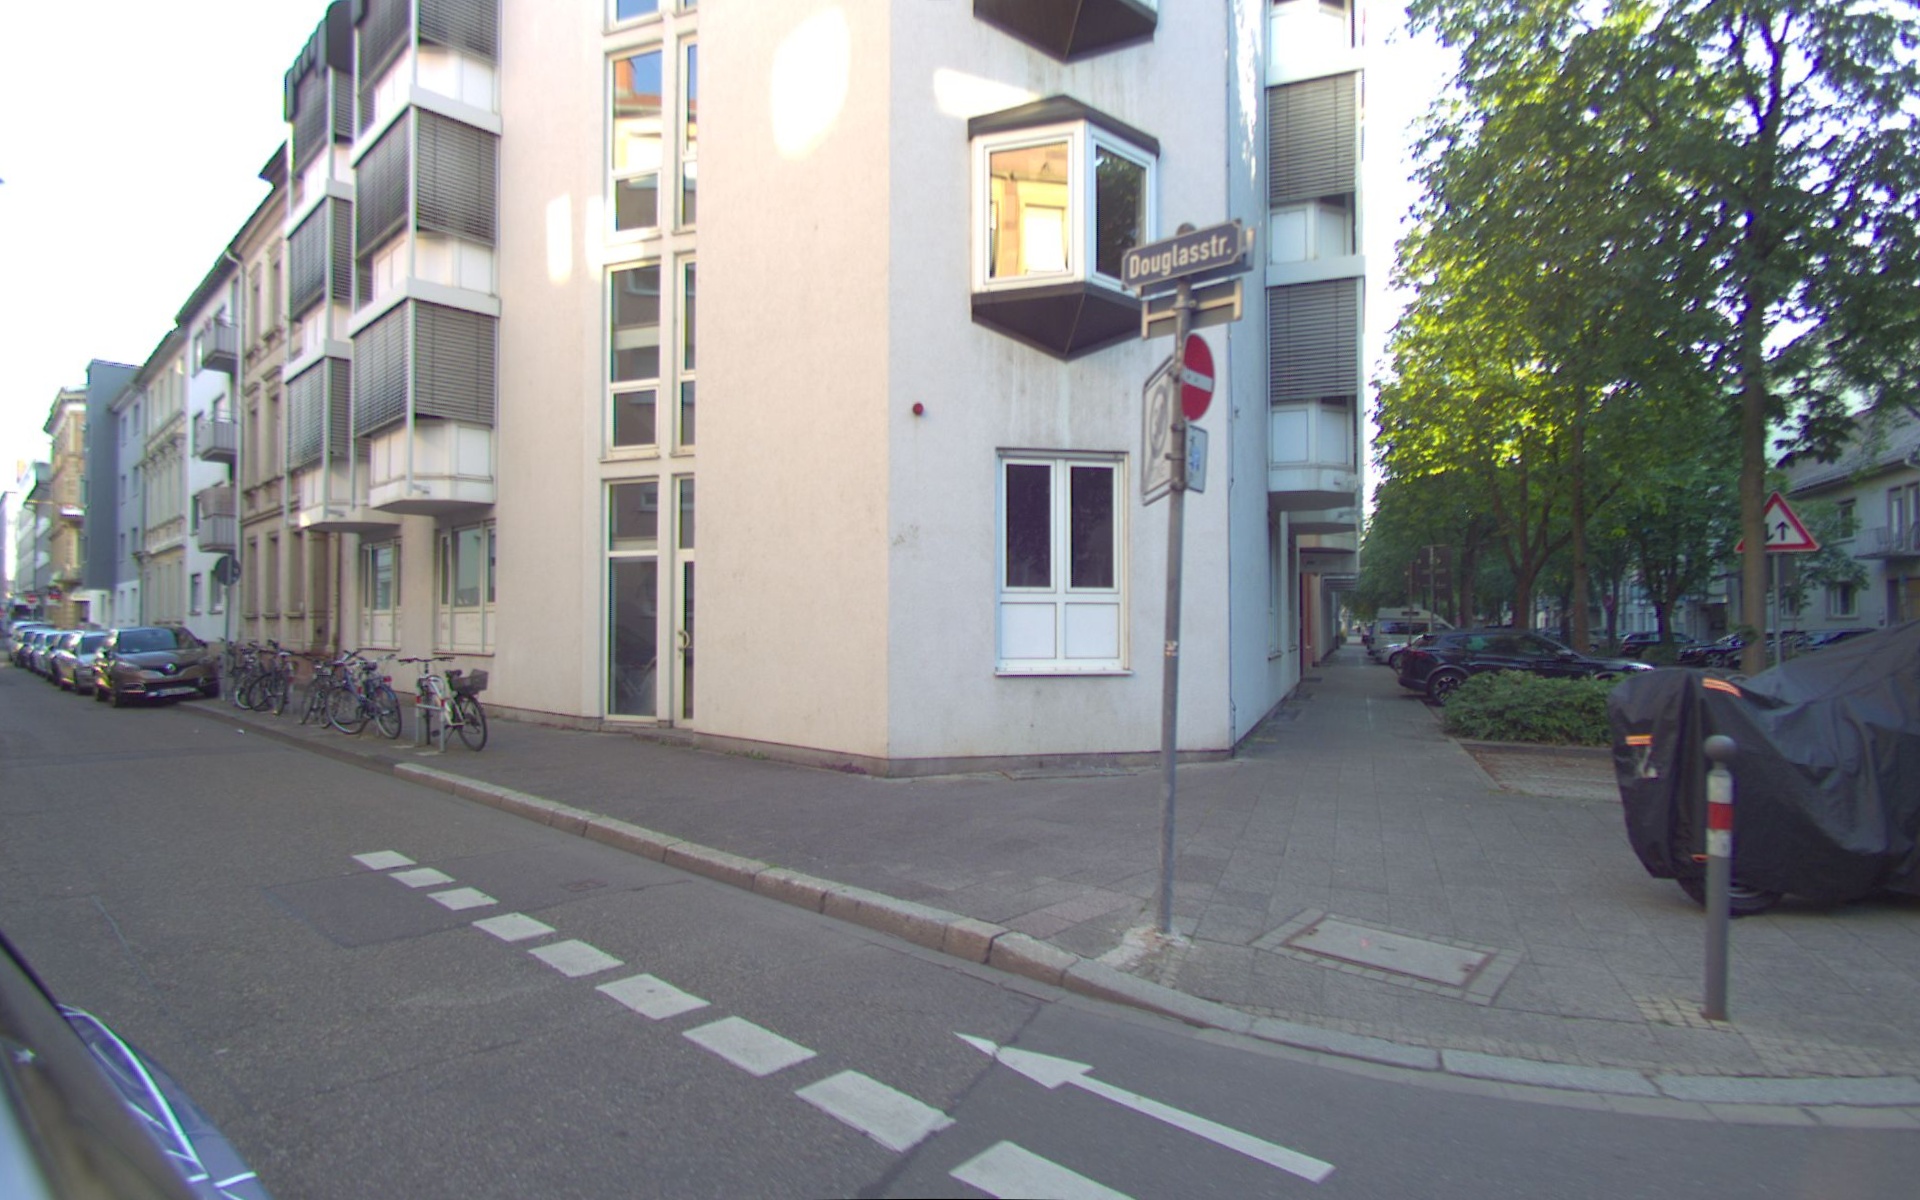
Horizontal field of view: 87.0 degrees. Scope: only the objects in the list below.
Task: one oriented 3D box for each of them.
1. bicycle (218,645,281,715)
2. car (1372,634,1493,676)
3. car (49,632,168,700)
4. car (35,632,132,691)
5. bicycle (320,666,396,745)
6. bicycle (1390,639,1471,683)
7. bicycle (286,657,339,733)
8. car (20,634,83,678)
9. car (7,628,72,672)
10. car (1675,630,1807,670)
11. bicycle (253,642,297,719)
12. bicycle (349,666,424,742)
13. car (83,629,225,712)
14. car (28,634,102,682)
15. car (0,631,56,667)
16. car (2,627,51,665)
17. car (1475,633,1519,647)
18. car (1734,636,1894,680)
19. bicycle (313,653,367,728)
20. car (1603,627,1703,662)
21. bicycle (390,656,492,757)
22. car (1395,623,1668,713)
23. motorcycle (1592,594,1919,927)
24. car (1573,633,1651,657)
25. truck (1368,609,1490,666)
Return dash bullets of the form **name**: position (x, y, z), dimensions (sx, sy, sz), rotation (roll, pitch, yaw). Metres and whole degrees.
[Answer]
- **bicycle**: position (-13.110, 1.429, 18.648), dimensions (0.588, 1.196, 2.267), rotation (1, -2, -44)
- **car**: position (18.089, 2.067, 38.921), dimensions (4.118, 1.483, 1.628), rotation (0, -2, 23)
- **car**: position (-21.499, 1.604, 25.495), dimensions (4.434, 1.551, 1.771), rotation (-2, -2, 43)
- **car**: position (-25.690, 1.745, 29.613), dimensions (4.496, 1.551, 1.770), rotation (-2, -2, 45)
- **bicycle**: position (-7.983, 1.374, 13.397), dimensions (1.812, 0.939, 0.304), rotation (-2, -2, 41)
- **bicycle**: position (13.016, 1.679, 28.048), dimensions (1.956, 1.208, 0.500), rotation (0, -2, 12)
- **bicycle**: position (-9.688, 1.390, 15.118), dimensions (0.303, 1.050, 1.814), rotation (1, -2, -44)
- **car**: position (-33.731, 2.042, 37.539), dimensions (1.619, 1.500, 3.957), rotation (1, -2, -44)
- **car**: position (-37.998, 2.053, 41.749), dimensions (3.783, 1.724, 1.620), rotation (-2, -2, 43)
- **car**: position (30.867, 1.996, 40.141), dimensions (3.777, 1.541, 1.555), rotation (-2, -2, 21)
- **bicycle**: position (-11.629, 1.338, 17.158), dimensions (0.303, 1.232, 1.814), rotation (1, -2, -44)
- **bicycle**: position (-7.762, 1.371, 13.666), dimensions (1.812, 0.939, 0.303), rotation (-2, -3, 42)
- **car**: position (-17.136, 1.425, 21.464), dimensions (4.070, 1.588, 1.771), rotation (-2, -2, 43)
- **car**: position (-30.171, 1.928, 34.089), dimensions (3.790, 1.500, 1.619), rotation (-2, -2, 44)
- **car**: position (-42.898, 2.234, 46.504), dimensions (3.783, 1.592, 1.620), rotation (-2, -2, 43)
- **car**: position (-46.755, 2.295, 50.657), dimensions (3.785, 1.810, 1.619), rotation (-2, -2, 45)
- **car**: position (53.543, 3.978, 100.970), dimensions (3.642, 1.403, 1.555), rotation (-1, -2, 21)
- **car**: position (28.071, 1.914, 33.405), dimensions (3.642, 1.403, 1.555), rotation (-2, -2, 21)
- **bicycle**: position (-9.457, 1.352, 15.420), dimensions (0.303, 1.050, 1.814), rotation (1, -2, -44)
- **car**: position (33.460, 2.157, 48.971), dimensions (3.642, 1.548, 1.555), rotation (-3, -3, 21)
- **bicycle**: position (-6.269, 1.247, 12.179), dimensions (1.811, 1.111, 0.396), rotation (-2, -2, 39)
- **car**: position (10.752, 1.246, 19.452), dimensions (4.342, 1.520, 1.821), rotation (0, -2, 23)
- **motorcycle**: position (4.516, 0.765, 5.123), dimensions (2.133, 1.567, 0.669), rotation (0, -2, 2)
- **car**: position (38.972, 2.705, 60.565), dimensions (3.642, 1.403, 1.555), rotation (-1, -2, 21)
- **truck**: position (21.421, 1.685, 46.408), dimensions (4.985, 2.459, 1.901), rotation (0, -1, 24)
